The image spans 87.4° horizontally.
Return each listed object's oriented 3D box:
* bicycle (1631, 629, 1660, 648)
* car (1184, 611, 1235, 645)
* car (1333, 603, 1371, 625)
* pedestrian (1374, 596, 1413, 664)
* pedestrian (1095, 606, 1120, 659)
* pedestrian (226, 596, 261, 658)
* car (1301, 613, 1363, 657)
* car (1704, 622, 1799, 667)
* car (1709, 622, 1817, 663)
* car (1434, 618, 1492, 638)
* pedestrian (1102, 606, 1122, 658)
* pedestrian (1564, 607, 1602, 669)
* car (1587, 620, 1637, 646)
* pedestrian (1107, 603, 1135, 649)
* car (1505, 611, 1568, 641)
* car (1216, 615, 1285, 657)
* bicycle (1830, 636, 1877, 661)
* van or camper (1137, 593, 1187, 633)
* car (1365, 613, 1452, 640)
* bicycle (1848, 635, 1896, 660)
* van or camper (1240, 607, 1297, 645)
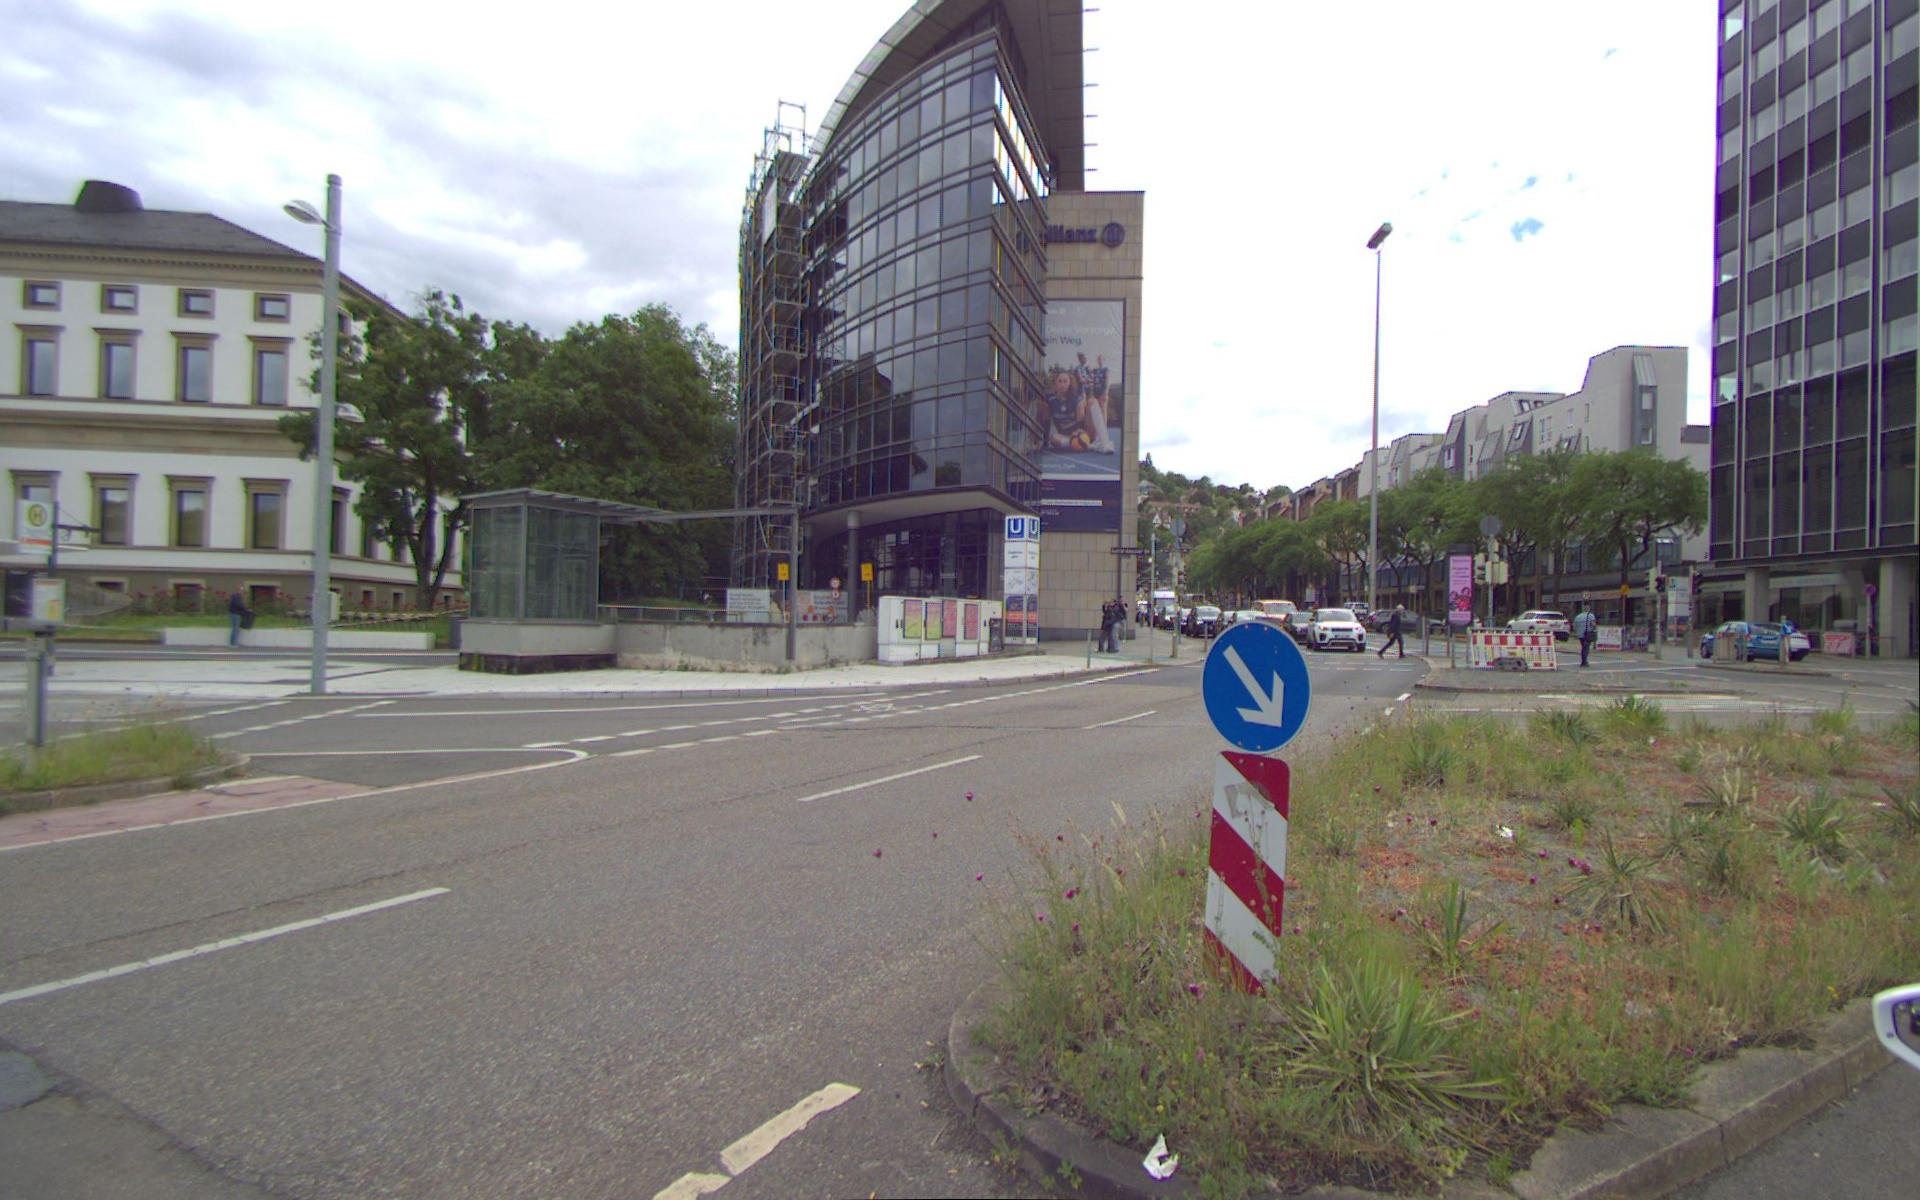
[{"bbox_3d":[42.355,2.366,62.062,0.481,1.147,1.887,1,0,-1],"label":"bicycle"},{"bbox_3d":[13.408,1.467,54.138,1.960,1.667,4.685,0,0,5],"label":"car"},{"bbox_3d":[35.166,1.260,90.203,1.801,1.899,4.872,0,-1,4],"label":"car"},{"bbox_3d":[14.309,0.995,33.165,0.864,2.201,0.761,1,0,-13],"label":"pedestrian"},{"bbox_3d":[4.829,1.053,32.811,0.754,1.723,0.633,1,0,9],"label":"pedestrian"},{"bbox_3d":[-21.526,0.805,30.165,0.583,1.837,0.604,0,0,8],"label":"pedestrian"},{"bbox_3d":[14.574,1.328,39.542,1.705,1.620,4.321,1,-1,12],"label":"car"},{"bbox_3d":[29.222,1.603,37.209,1.803,1.537,3.765,0,-1,23],"label":"car"},{"bbox_3d":[32.805,1.706,41.182,1.801,1.537,3.769,0,-1,8],"label":"car"},{"bbox_3d":[37.329,2.040,74.693,2.023,1.437,4.332,0,-1,-3],"label":"car"},{"bbox_3d":[5.098,1.065,33.640,0.631,1.723,0.633,1,0,9],"label":"pedestrian"},{"bbox_3d":[18.720,1.140,30.191,0.703,1.814,0.634,-2,1,5],"label":"pedestrian"},{"bbox_3d":[42.429,2.130,65.473,1.829,1.595,4.000,0,-1,19],"label":"car"},{"bbox_3d":[6.575,1.061,41.142,0.918,1.834,0.693,0,0,-20],"label":"pedestrian"},{"bbox_3d":[31.863,1.407,55.617,1.801,1.587,3.769,0,-1,8],"label":"car"},{"bbox_3d":[11.616,1.419,40.407,1.959,1.545,4.094,1,0,6],"label":"car"},{"bbox_3d":[41.603,2.265,46.808,0.702,1.062,1.481,2,0,-15],"label":"bicycle"},{"bbox_3d":[14.941,0.950,74.811,2.951,2.762,6.249,1,0,5],"label":"van or camper"},{"bbox_3d":[26.916,1.563,60.473,4.473,1.478,1.882,1,0,13],"label":"car"},{"bbox_3d":[42.417,2.206,46.737,0.702,1.062,1.481,2,0,-15],"label":"bicycle"},{"bbox_3d":[16.264,1.344,53.176,1.880,1.947,5.086,0,-1,5],"label":"van or camper"}]
